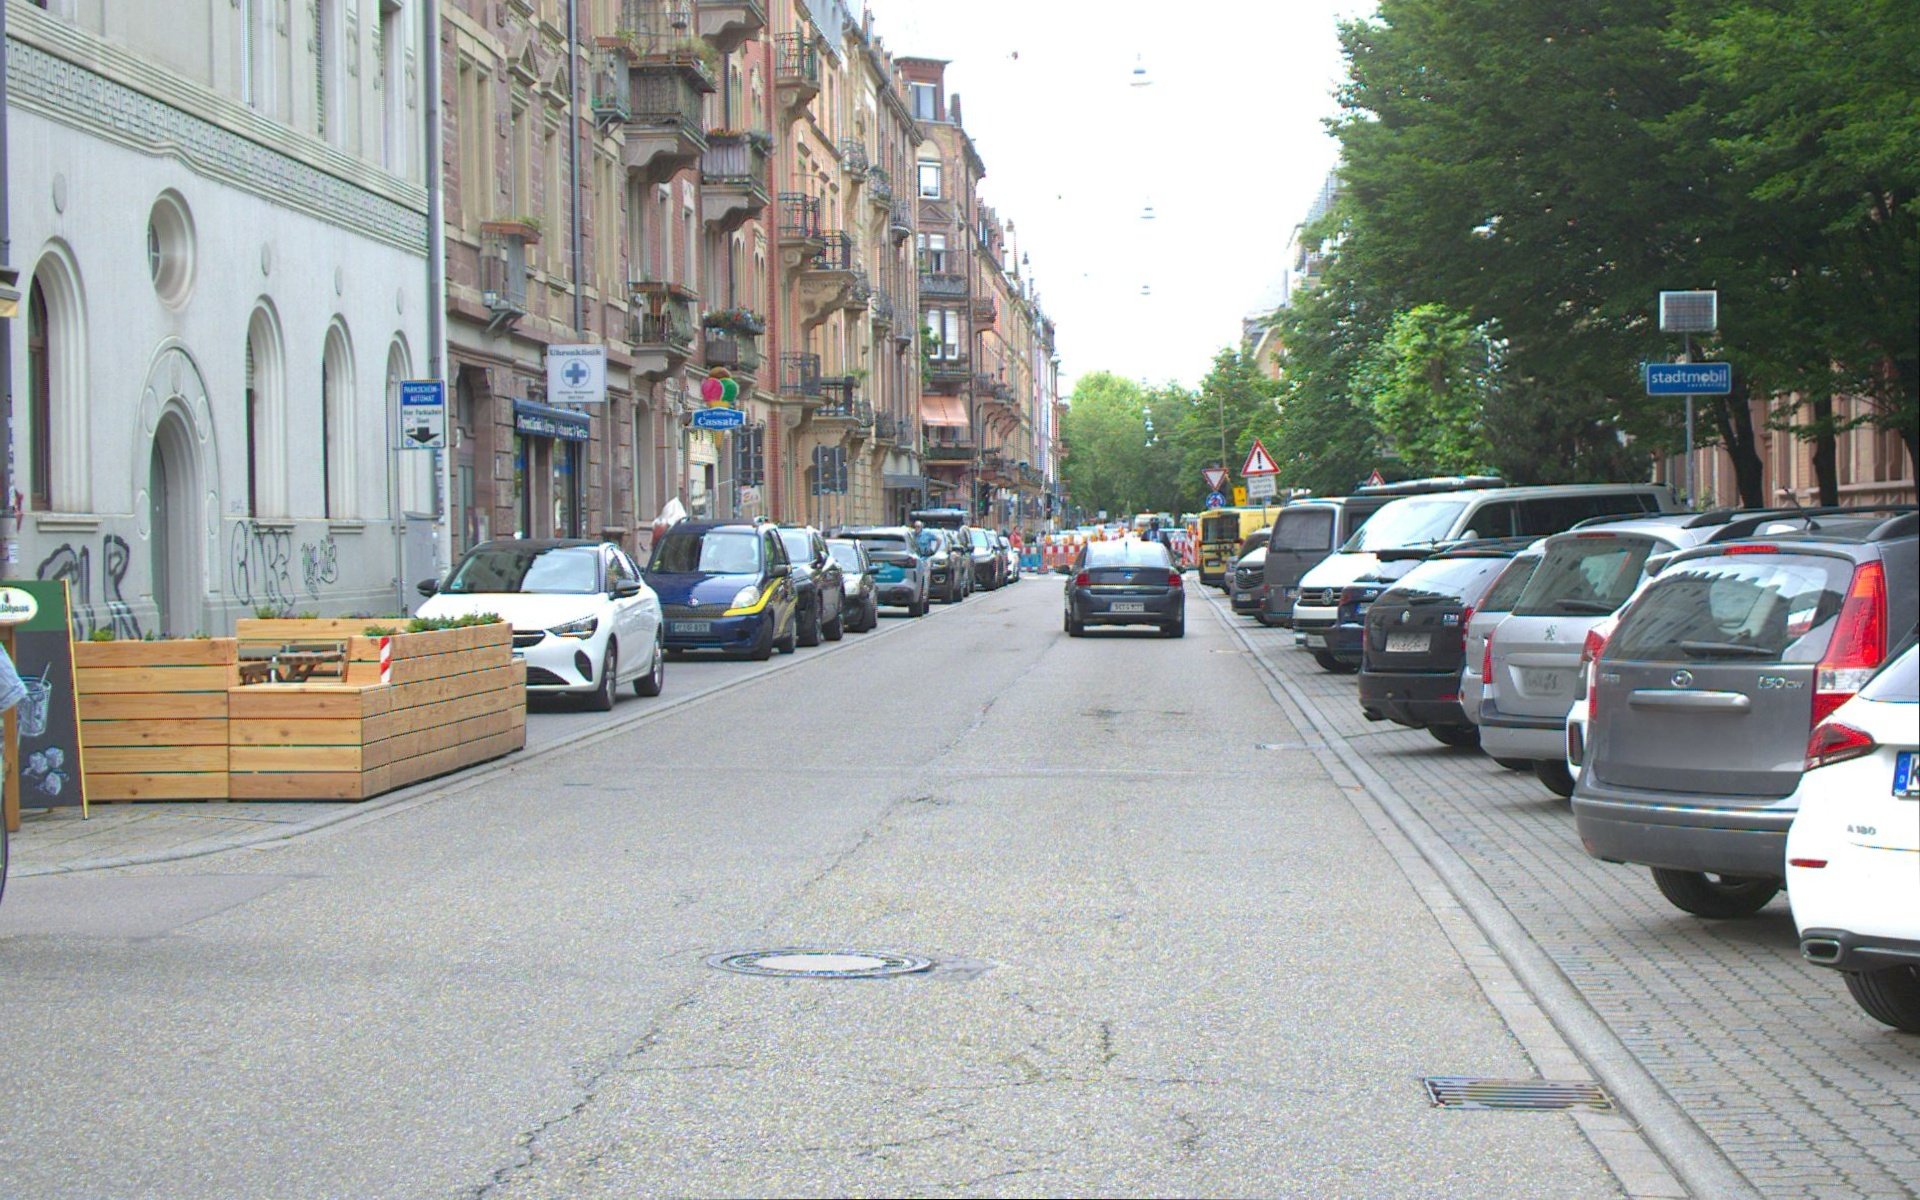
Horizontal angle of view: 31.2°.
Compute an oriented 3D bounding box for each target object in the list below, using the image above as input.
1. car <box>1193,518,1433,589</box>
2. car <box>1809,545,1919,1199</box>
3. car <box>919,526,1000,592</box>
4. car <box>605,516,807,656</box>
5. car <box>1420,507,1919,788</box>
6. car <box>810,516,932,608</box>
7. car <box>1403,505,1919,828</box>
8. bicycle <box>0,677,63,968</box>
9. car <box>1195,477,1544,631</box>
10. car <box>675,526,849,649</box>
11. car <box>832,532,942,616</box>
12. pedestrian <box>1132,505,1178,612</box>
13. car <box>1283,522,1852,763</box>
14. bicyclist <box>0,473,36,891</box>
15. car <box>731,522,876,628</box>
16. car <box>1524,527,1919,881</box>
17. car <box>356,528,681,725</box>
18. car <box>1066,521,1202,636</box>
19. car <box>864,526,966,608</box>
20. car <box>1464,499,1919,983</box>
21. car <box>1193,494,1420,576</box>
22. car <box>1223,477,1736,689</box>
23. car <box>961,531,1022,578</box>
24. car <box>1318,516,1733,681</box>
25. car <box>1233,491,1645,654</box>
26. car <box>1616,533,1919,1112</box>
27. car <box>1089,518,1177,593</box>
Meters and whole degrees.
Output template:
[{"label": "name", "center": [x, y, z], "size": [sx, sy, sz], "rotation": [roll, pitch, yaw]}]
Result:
[{"label": "car", "center": [8.351, -1.109, 81.186], "size": [5.385, 1.548, 1.951], "rotation": [-2, 1, -26]}, {"label": "car", "center": [3.786, 0.617, 7.406], "size": [3.554, 1.493, 1.845], "rotation": [-1, 1, -32]}, {"label": "car", "center": [0.000, -1.123, 92.691], "size": [1.944, 1.732, 3.942], "rotation": [-1, 1, 3]}, {"label": "car", "center": [-3.023, -0.189, 41.623], "size": [1.944, 1.611, 3.942], "rotation": [0, 1, 3]}, {"label": "car", "center": [5.083, 0.238, 21.676], "size": [4.047, 1.579, 1.771], "rotation": [-2, 1, -30]}, {"label": "car", "center": [-1.600, -0.715, 63.187], "size": [1.944, 1.611, 3.942], "rotation": [-1, 1, 2]}, {"label": "car", "center": [4.657, 0.292, 18.975], "size": [4.046, 1.579, 1.771], "rotation": [-2, 1, -27]}, {"label": "bicycle", "center": [-3.540, 0.766, 11.527], "size": [0.535, 0.974, 1.865], "rotation": [0, 0, 1]}, {"label": "car", "center": [6.835, -0.778, 57.429], "size": [5.385, 2.365, 1.951], "rotation": [-2, 1, -18]}, {"label": "car", "center": [-2.667, -0.185, 47.084], "size": [1.944, 1.611, 3.942], "rotation": [0, 1, 3]}, {"label": "car", "center": [-1.419, -0.527, 68.225], "size": [1.944, 1.611, 3.942], "rotation": [0, 1, 2]}, {"label": "pedestrian", "center": [3.960, -0.832, 69.827], "size": [0.891, 2.138, 1.028], "rotation": [0, 0, 2]}, {"label": "car", "center": [4.344, 0.262, 24.379], "size": [3.852, 1.500, 1.771], "rotation": [-2, 1, -36]}, {"label": "bicyclist", "center": [-3.533, 0.276, 11.484], "size": [0.668, 1.394, 0.783], "rotation": [0, 0, 0]}, {"label": "car", "center": [-2.423, -0.408, 54.163], "size": [1.944, 1.611, 3.942], "rotation": [0, 1, 2]}, {"label": "car", "center": [4.792, 0.388, 16.314], "size": [4.047, 1.481, 1.682], "rotation": [-2, 1, -33]}, {"label": "car", "center": [-3.752, 0.193, 29.897], "size": [1.944, 1.548, 3.816], "rotation": [-2, 1, 6]}, {"label": "car", "center": [2.637, -0.312, 52.654], "size": [1.993, 1.675, 4.000], "rotation": [0, 0, 2]}, {"label": "car", "center": [-0.959, -0.731, 75.115], "size": [1.944, 1.736, 3.942], "rotation": [0, 1, 3]}, {"label": "car", "center": [4.159, 0.405, 13.072], "size": [4.046, 1.579, 1.903], "rotation": [-2, 1, -28]}, {"label": "car", "center": [8.669, -1.626, 85.926], "size": [5.385, 1.861, 1.951], "rotation": [-2, 1, -26]}, {"label": "car", "center": [5.813, -0.221, 38.179], "size": [5.607, 2.120, 1.950], "rotation": [-2, 1, -30]}, {"label": "car", "center": [1.034, -1.516, 115.504], "size": [1.993, 1.494, 4.000], "rotation": [0, 0, 0]}, {"label": "car", "center": [5.712, -0.033, 34.639], "size": [3.851, 1.500, 1.771], "rotation": [-2, 1, -30]}, {"label": "car", "center": [6.479, -0.389, 46.249], "size": [5.386, 1.985, 1.950], "rotation": [-2, 1, -30]}, {"label": "car", "center": [4.175, 0.601, 10.400], "size": [3.973, 1.538, 1.876], "rotation": [0, 1, -28]}, {"label": "car", "center": [4.024, -1.025, 80.453], "size": [1.993, 1.675, 4.000], "rotation": [0, 0, 2]}]
